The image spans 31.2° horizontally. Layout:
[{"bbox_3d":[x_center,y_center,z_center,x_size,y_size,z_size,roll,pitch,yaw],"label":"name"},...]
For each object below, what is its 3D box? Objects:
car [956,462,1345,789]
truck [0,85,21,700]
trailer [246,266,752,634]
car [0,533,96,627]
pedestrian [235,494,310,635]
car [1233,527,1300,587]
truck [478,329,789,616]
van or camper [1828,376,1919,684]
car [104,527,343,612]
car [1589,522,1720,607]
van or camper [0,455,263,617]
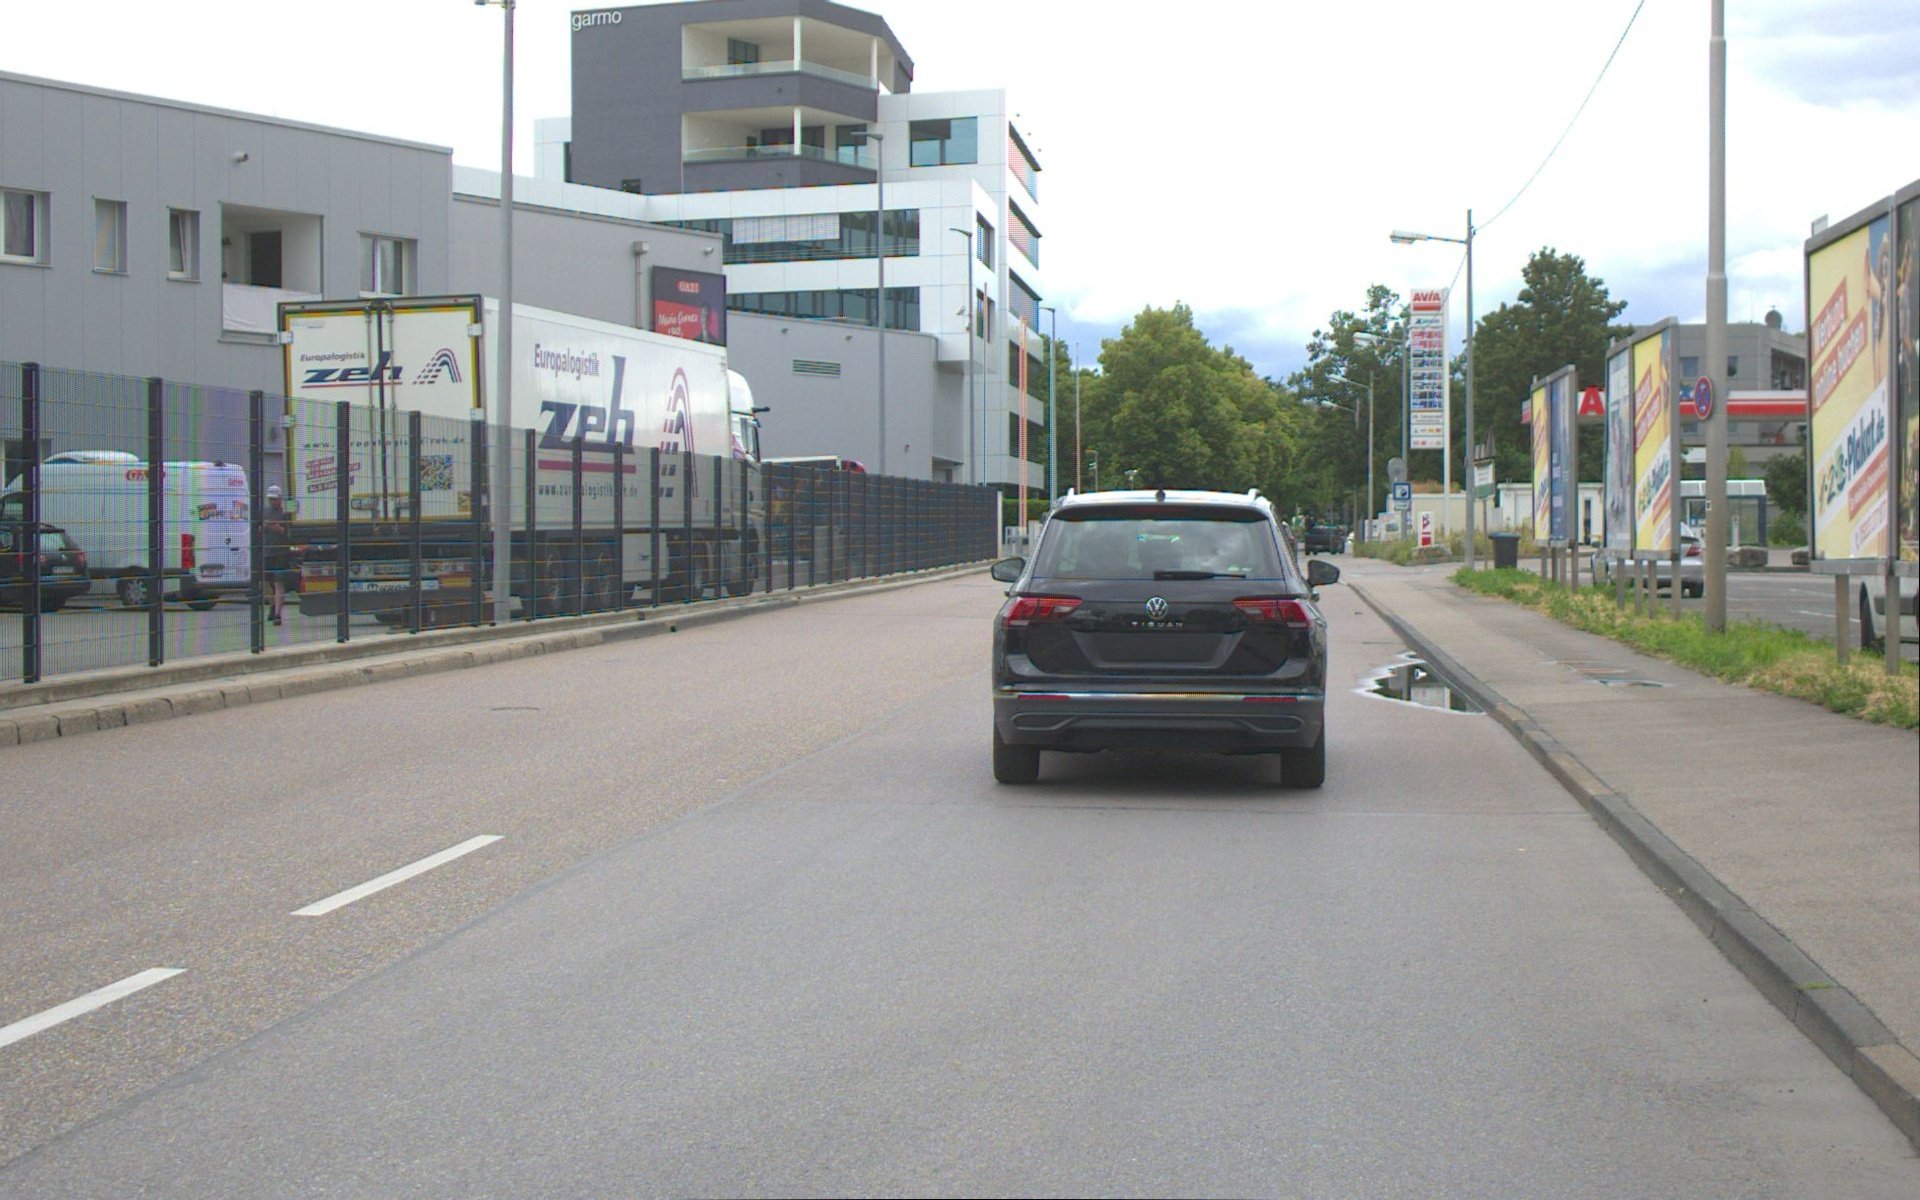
[{"bbox_3d":[1.135,0.118,19.926,1.994,1.678,4.370,0,0,4],"label":"car"},{"bbox_3d":[-8.062,-1.308,19.464,2.922,4.006,6.940,0,1,7],"label":"truck"},{"bbox_3d":[-6.040,-1.908,48.727,3.134,4.246,14.015,-4,0,8],"label":"trailer"},{"bbox_3d":[-16.892,-0.344,58.280,3.992,1.546,1.997,0,1,25],"label":"car"},{"bbox_3d":[-8.969,-0.464,44.881,0.698,1.823,0.824,0,1,10],"label":"pedestrian"},{"bbox_3d":[9.307,-1.317,104.530,1.994,1.744,4.000,0,2,4],"label":"car"},{"bbox_3d":[-5.099,-1.968,55.203,3.129,4.103,6.939,-4,0,8],"label":"truck"},{"bbox_3d":[9.641,-0.640,31.954,2.256,2.638,6.113,0,1,7],"label":"van or camper"},{"bbox_3d":[-13.869,-0.577,64.758,3.992,1.546,1.997,0,1,25],"label":"car"},{"bbox_3d":[12.685,-0.661,63.010,1.890,1.440,4.428,2,1,6],"label":"car"},{"bbox_3d":[-14.941,-1.111,60.380,4.978,2.753,2.101,0,1,24],"label":"van or camper"}]
